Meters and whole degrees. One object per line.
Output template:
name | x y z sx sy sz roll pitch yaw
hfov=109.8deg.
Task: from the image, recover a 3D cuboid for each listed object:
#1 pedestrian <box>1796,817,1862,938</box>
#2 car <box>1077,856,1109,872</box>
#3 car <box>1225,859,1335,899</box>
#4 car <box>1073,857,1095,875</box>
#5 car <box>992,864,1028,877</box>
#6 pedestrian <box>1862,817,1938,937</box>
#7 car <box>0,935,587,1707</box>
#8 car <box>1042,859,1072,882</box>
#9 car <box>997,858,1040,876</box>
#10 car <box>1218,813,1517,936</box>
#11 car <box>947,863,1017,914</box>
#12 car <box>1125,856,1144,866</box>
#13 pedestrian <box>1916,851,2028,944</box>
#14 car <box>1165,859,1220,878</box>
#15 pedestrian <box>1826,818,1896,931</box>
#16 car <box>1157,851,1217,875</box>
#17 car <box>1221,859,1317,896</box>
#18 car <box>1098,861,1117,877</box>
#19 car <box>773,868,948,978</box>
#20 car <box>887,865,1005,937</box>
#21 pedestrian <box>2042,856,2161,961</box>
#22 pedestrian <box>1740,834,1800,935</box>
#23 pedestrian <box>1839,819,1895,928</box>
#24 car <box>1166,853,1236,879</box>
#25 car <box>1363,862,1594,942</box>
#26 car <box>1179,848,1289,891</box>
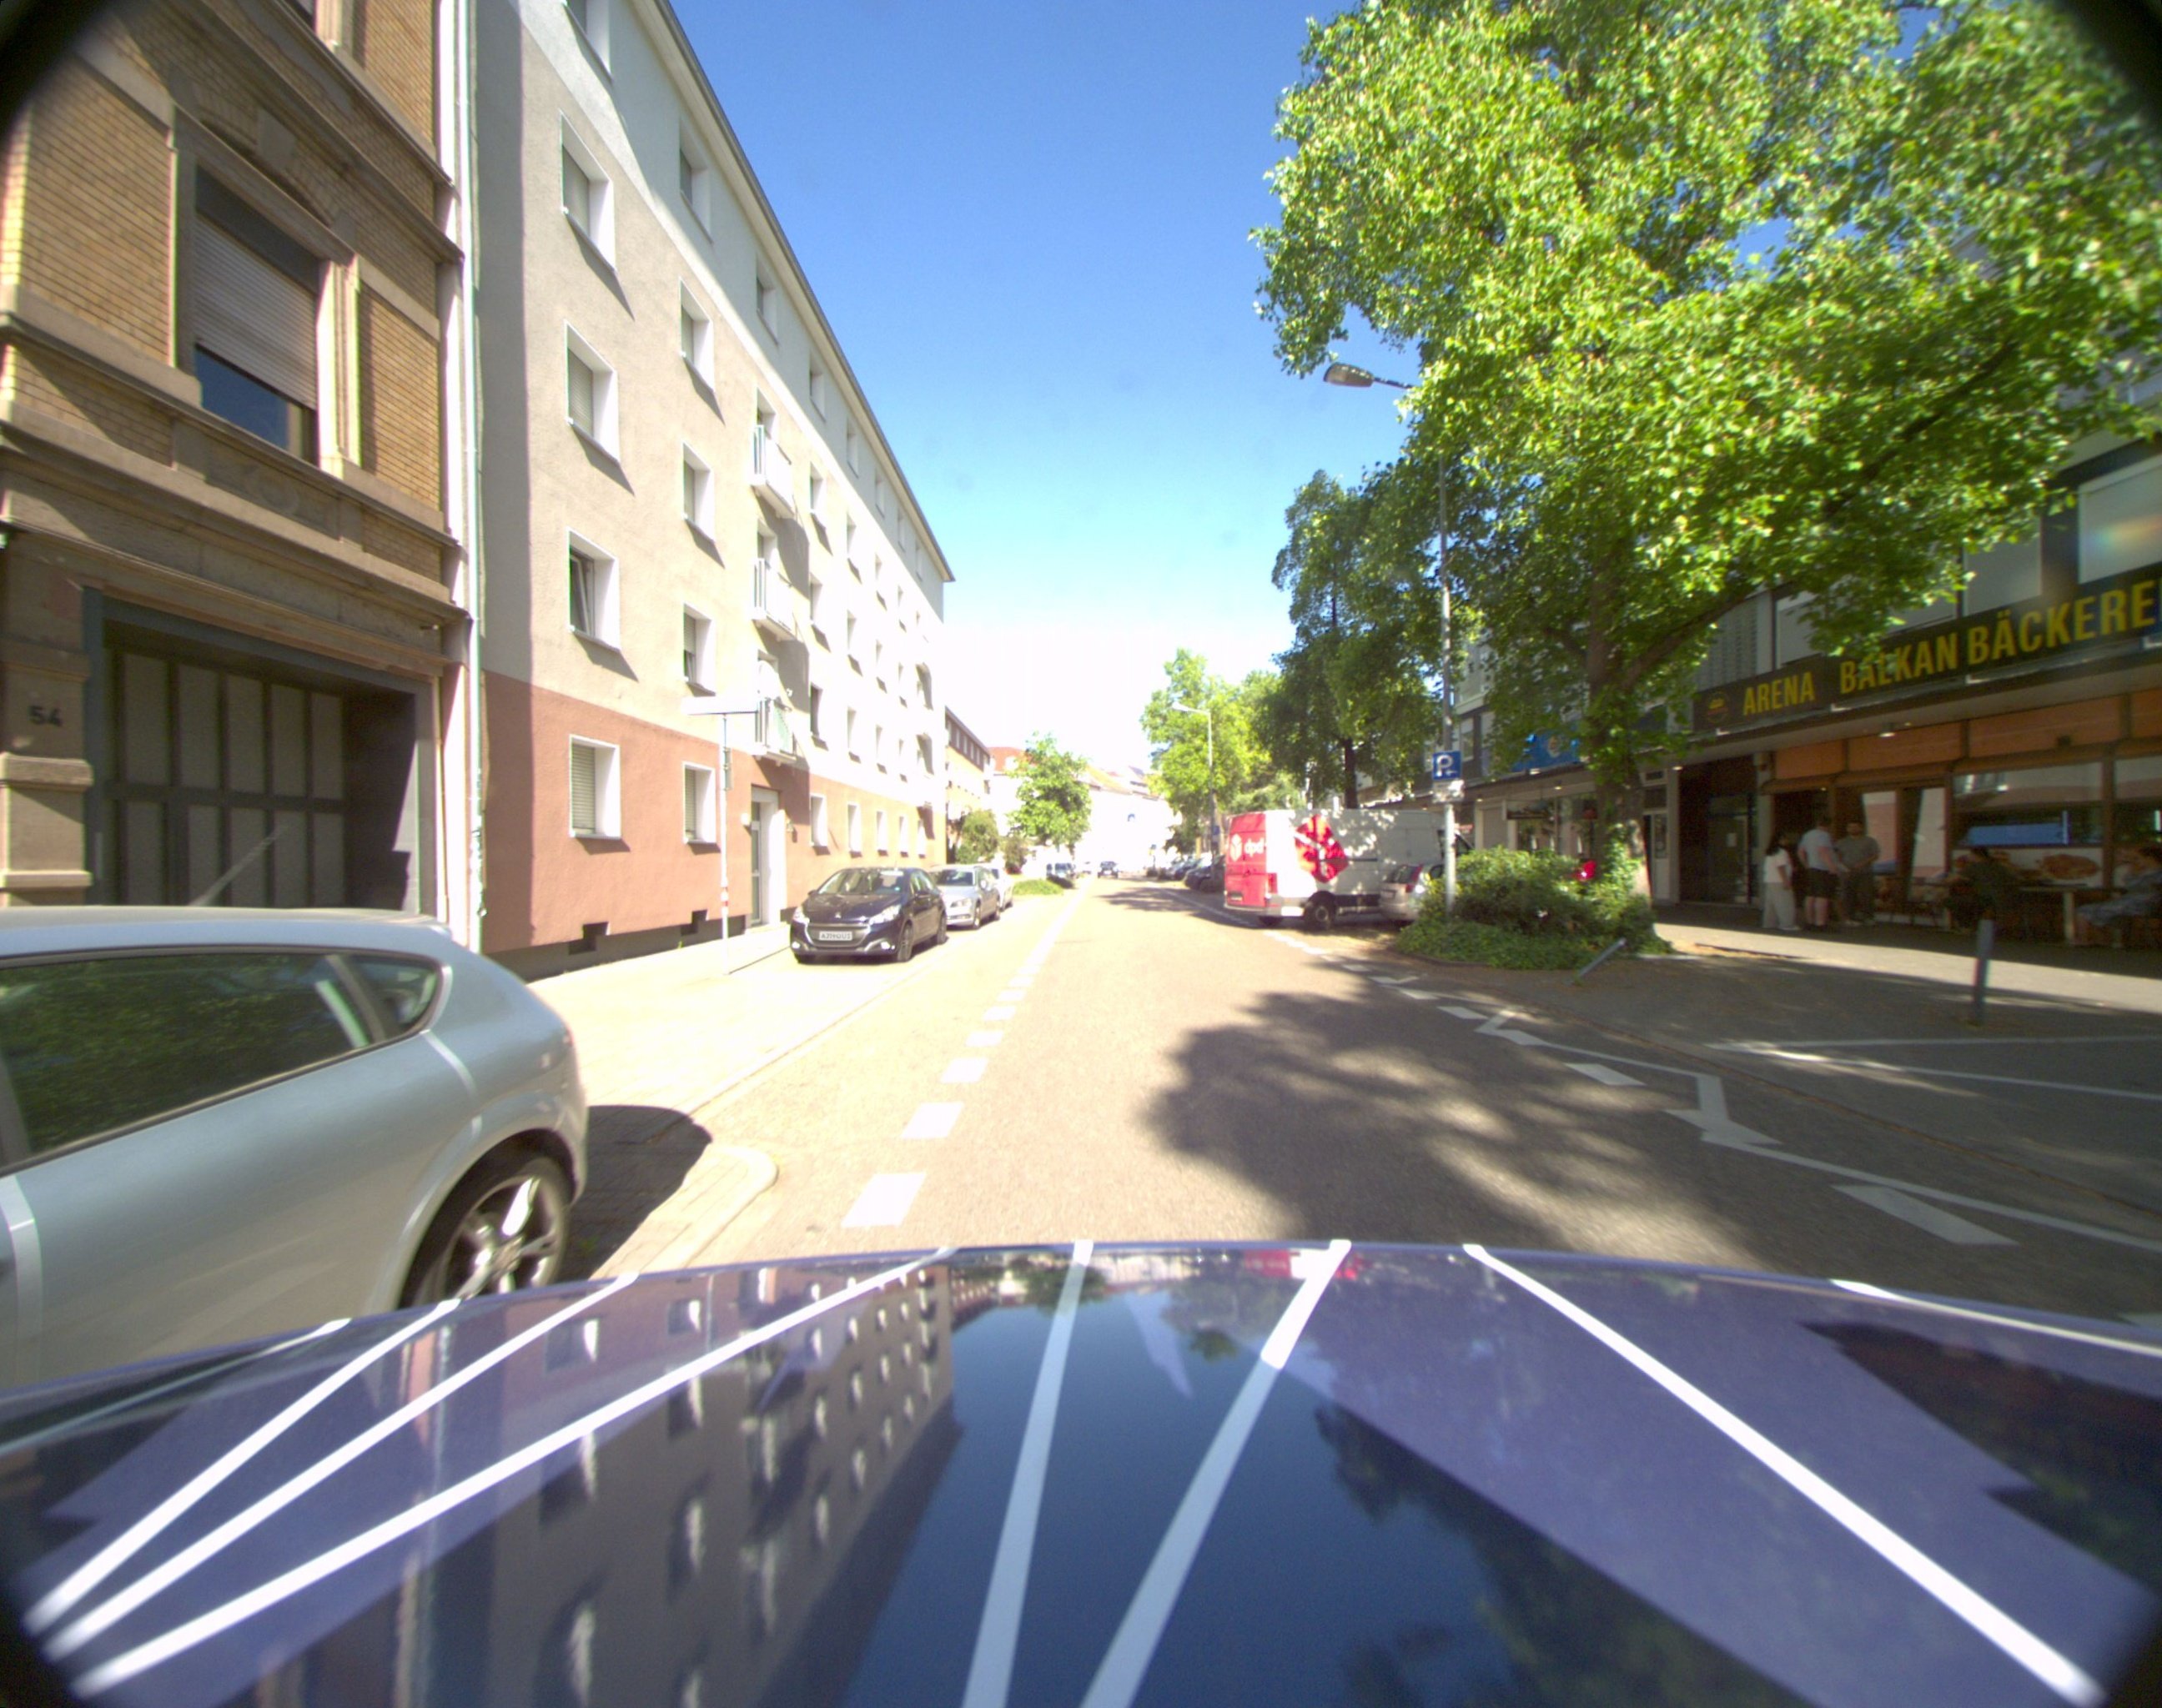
pedestrian | 12.258 0.377 12.463 0.598 1.923 0.588 0 0 23
car | 1.506 1.218 92.593 1.908 1.924 4.818 0 0 28
car | 7.837 0.961 30.169 3.927 1.442 1.710 -2 0 1
car | 0.290 0.977 64.222 1.661 1.473 4.312 0 0 2
car | -7.636 1.776 82.133 3.647 1.394 1.568 0 0 1
pedestrian | 13.303 0.363 12.354 0.595 1.892 0.579 -1 0 0
car | -2.708 1.014 0.781 1.743 1.443 4.000 0 0 1
car | -1.589 1.069 51.385 1.720 1.445 4.000 0 0 2
car | -7.168 1.450 87.583 4.756 2.002 1.999 0 0 -3
car | 6.530 0.379 17.234 6.609 2.459 1.997 -1 0 -20
car | -3.148 1.049 24.799 1.735 1.477 3.795 1 0 0
car | 7.546 0.996 107.624 1.632 1.412 3.299 -1 0 25
pedestrian | 13.423 0.631 11.480 0.565 1.333 0.954 -1 0 -1
car | 8.468 1.102 57.913 3.997 1.390 1.760 0 0 0
pedestrian | 13.305 0.343 12.970 0.596 1.892 0.579 0 0 -1
car | 9.415 0.776 67.733 4.995 1.958 1.910 -1 0 0
car | 8.058 0.997 32.693 3.676 1.442 1.613 -2 0 -2
car | 2.394 1.328 68.712 1.612 1.444 3.295 -1 0 1
car | -3.417 1.000 12.503 1.713 1.471 3.711 0 0 1
car | -3.102 1.031 18.393 1.789 1.451 4.518 1 0 4
pedestrian | 12.966 0.657 9.561 0.609 1.256 0.898 -1 0 -2
pedestrian | 11.866 0.513 13.099 0.598 1.701 0.588 0 0 23
pedestrian | 13.881 0.341 13.421 0.454 1.892 0.493 -1 0 0
car | 8.720 0.870 55.336 4.781 1.766 1.874 -2 0 0
car | 7.724 0.899 15.025 3.603 1.412 1.832 -1 0 1
car | 7.543 0.743 37.774 5.043 1.927 1.873 -2 0 1
